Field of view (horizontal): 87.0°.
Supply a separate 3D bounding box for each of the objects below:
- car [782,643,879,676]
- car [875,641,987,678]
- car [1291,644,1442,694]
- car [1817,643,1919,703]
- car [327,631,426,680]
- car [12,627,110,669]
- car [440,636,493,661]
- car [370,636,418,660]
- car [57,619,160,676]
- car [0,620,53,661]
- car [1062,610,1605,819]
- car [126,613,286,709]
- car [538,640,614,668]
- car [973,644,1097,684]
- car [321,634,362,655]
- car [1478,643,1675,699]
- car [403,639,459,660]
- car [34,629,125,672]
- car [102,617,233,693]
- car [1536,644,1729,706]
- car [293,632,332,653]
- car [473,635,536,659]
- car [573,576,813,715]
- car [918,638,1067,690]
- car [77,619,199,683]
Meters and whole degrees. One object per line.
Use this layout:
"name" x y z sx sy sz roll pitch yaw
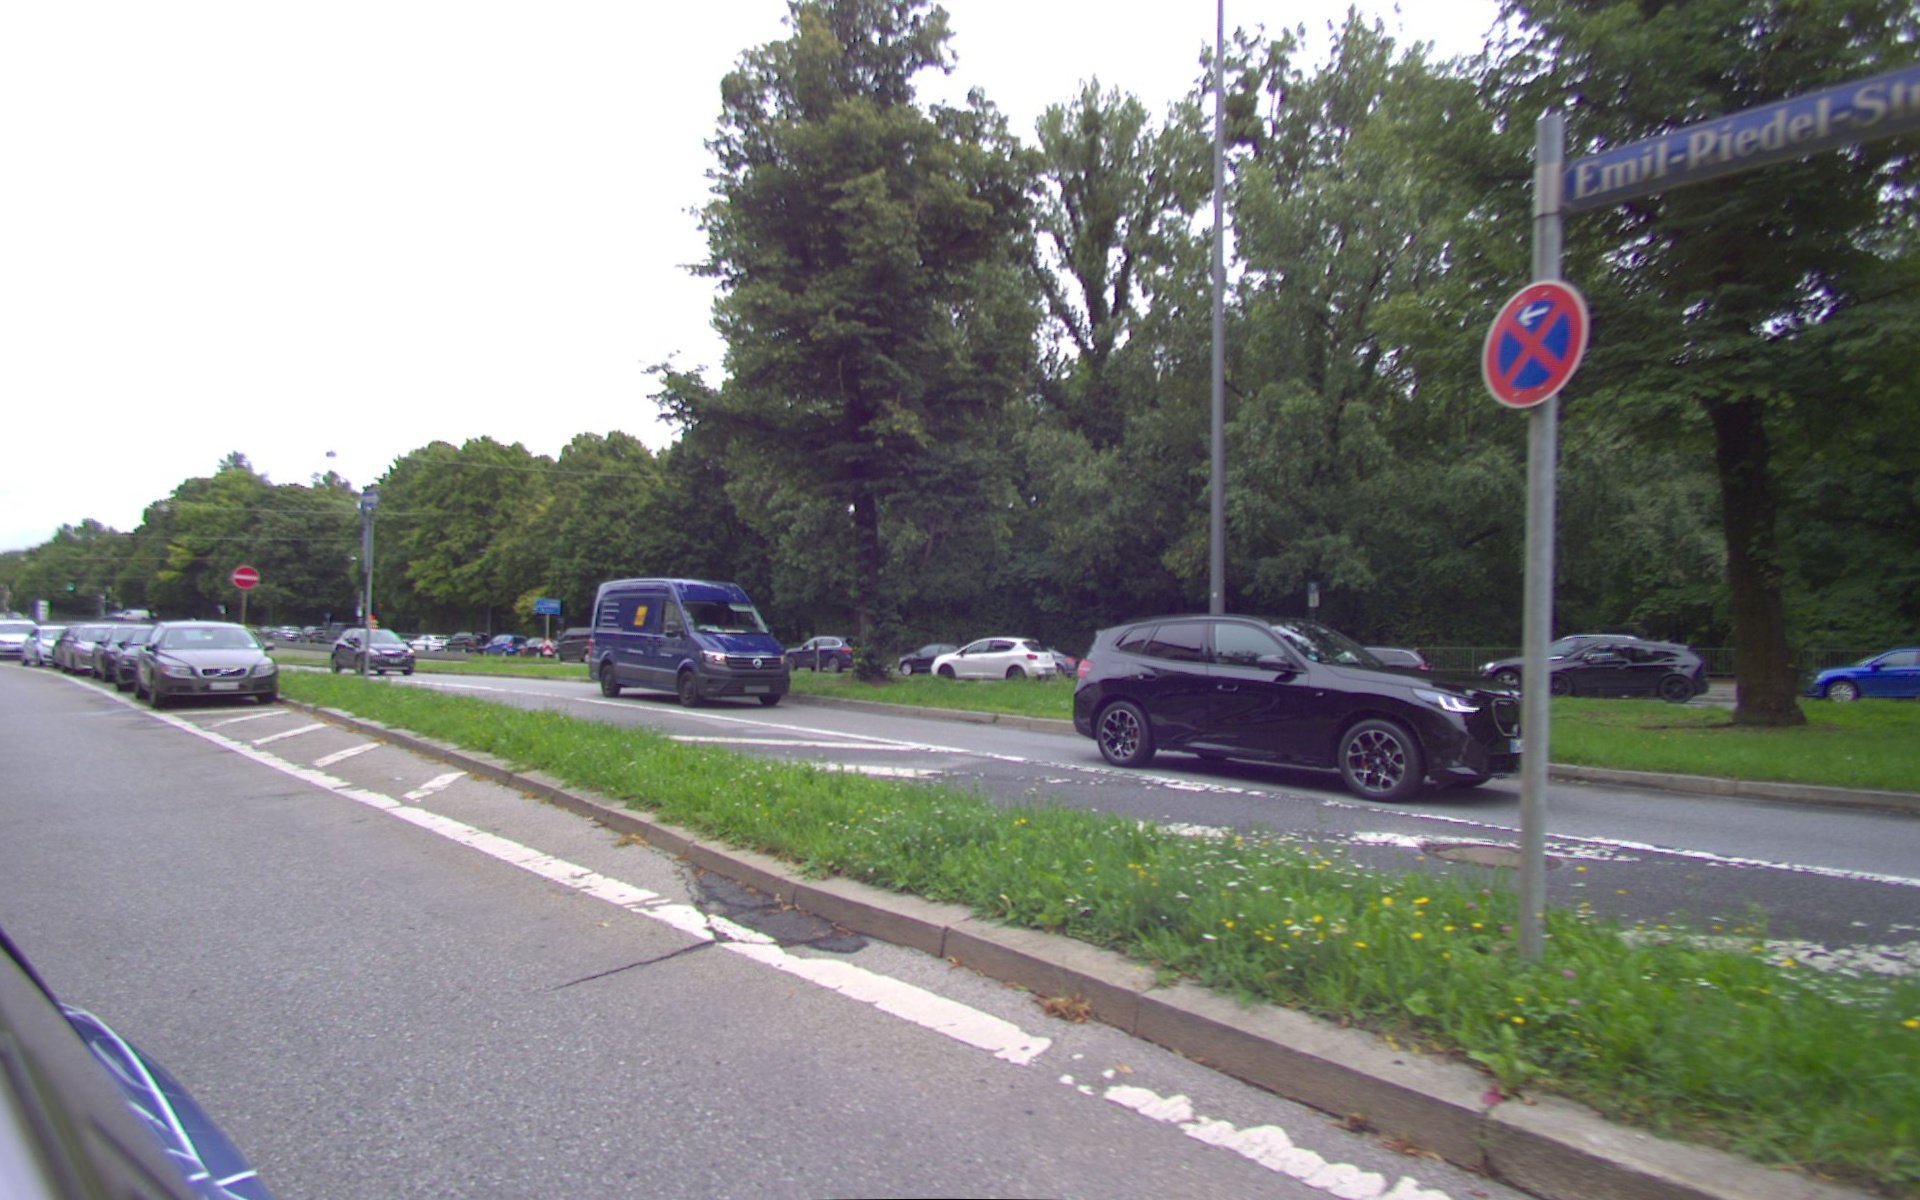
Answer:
"car" -6.016 2.737 46.926 4.311 1.457 1.975 -1 -4 37
"car" -1.257 2.509 43.010 4.519 1.457 1.974 -1 -4 38
"car" 13.173 2.204 32.872 4.303 1.457 1.978 -1 -4 32
"car" 24.654 1.850 25.443 4.407 1.457 1.979 -1 -4 31
"car" -21.004 1.944 36.388 4.274 1.640 1.965 -2 -3 44
"car" -33.371 1.763 37.535 4.277 1.467 1.968 -1 -3 39
"car" -34.396 3.350 70.525 3.997 1.569 1.887 0 -2 40
"car" -43.789 3.694 78.300 3.998 1.759 1.973 -1 -3 41
"car" -25.379 1.389 30.119 1.964 1.577 4.285 3 -3 -45
"car" -41.680 1.774 44.343 5.084 1.715 2.049 -1 -3 39
"car" 3.457 0.994 10.226 1.889 1.598 4.837 5 -5 -40
"car" -14.279 1.080 19.052 1.876 1.577 4.775 3 -3 -43
"car" -22.511 3.169 59.218 4.700 1.546 1.974 -1 -4 38
"car" 2.896 2.492 39.682 4.519 1.457 1.974 -1 -4 38
"car" -51.969 3.724 85.013 3.998 1.759 1.860 -1 -3 41
"car" 17.805 2.016 29.454 4.752 1.457 1.978 -1 -4 32
"car" -38.795 3.652 74.180 4.311 1.457 1.975 -1 -4 37
"car" -30.028 1.691 34.479 4.280 1.380 1.743 -1 -3 41
"car" -18.306 1.217 23.304 1.963 1.577 4.287 3 -3 -43
"car" 17.290 1.894 26.282 4.018 1.457 1.878 -1 -3 30
"car" -57.159 3.742 89.375 3.998 1.759 1.842 -1 -3 41
"car" -30.295 3.117 67.246 4.311 1.457 1.975 -1 -4 37
"car" -5.704 0.861 21.020 2.158 2.482 5.855 2 -2 -45
"car" 0.959 1.920 30.768 4.225 1.457 1.812 -1 -4 34
"car" -21.896 1.320 26.903 4.283 1.577 1.965 -2 -3 44
